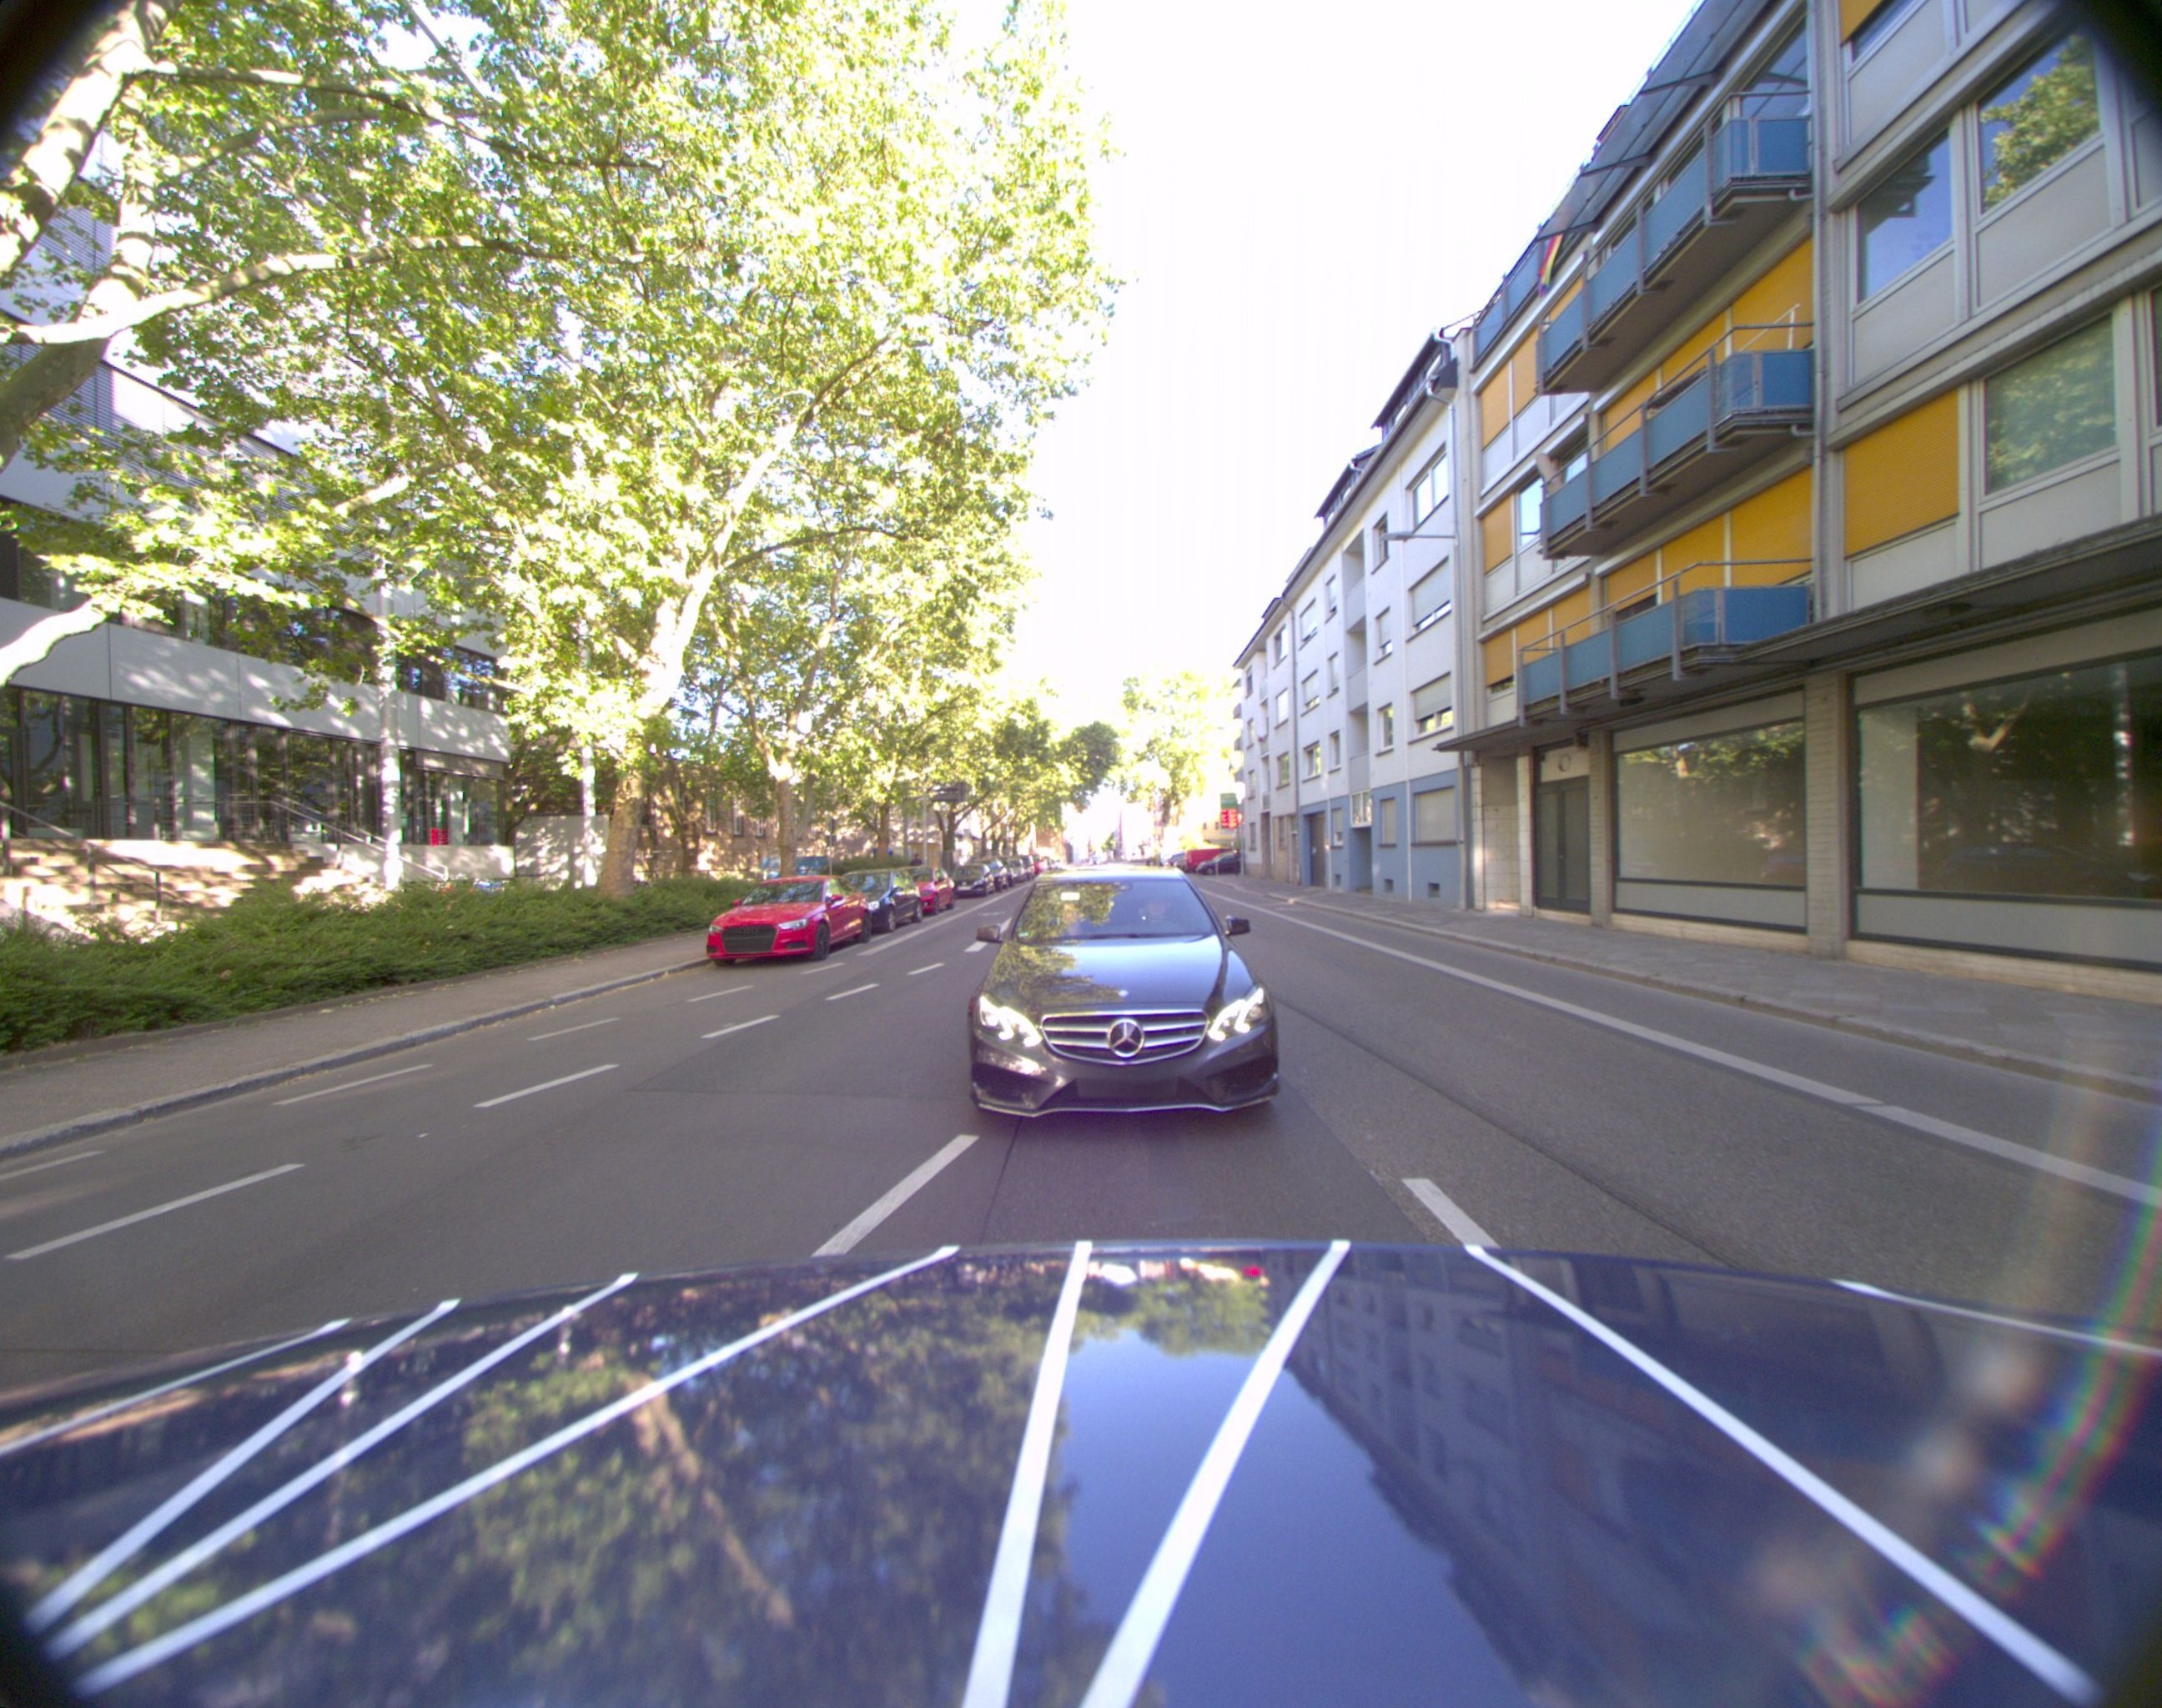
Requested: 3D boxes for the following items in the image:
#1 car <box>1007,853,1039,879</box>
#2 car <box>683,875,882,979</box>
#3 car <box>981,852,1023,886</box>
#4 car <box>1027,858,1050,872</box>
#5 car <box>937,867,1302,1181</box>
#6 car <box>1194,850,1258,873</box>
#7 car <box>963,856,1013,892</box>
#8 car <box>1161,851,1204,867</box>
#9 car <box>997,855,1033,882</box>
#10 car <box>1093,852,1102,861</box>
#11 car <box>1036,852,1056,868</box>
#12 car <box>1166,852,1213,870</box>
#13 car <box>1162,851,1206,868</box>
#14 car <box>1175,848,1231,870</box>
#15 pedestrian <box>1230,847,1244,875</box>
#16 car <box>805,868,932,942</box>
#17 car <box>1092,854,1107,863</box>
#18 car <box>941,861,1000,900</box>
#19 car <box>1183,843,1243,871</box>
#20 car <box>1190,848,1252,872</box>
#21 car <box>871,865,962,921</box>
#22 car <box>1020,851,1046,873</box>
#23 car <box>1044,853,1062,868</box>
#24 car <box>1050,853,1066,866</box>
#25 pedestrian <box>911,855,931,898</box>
[{"bbox_3d":[-4.182,0.810,55.640,1.835,1.750,4.259,-2,0,1],"label":"car"},{"bbox_3d":[-5.132,1.178,13.770,1.835,1.396,4.247,-2,0,1],"label":"car"},{"bbox_3d":[-4.512,0.820,44.115,1.835,1.787,4.463,-2,0,1],"label":"car"},{"bbox_3d":[-3.993,1.023,71.788,1.835,1.220,4.259,-2,0,1],"label":"car"},{"bbox_3d":[0.229,0.918,6.069,1.849,1.490,4.302,-1,0,1],"label":"car"},{"bbox_3d":[10.398,0.520,54.748,4.255,1.392,1.653,-4,0,1],"label":"car"},{"bbox_3d":[-4.599,0.963,38.075,1.835,1.596,4.161,-2,0,1],"label":"car"},{"bbox_3d":[10.772,0.514,80.615,4.255,1.461,1.653,-4,0,1],"label":"car"},{"bbox_3d":[-4.340,0.945,50.608,1.835,1.604,4.259,-2,0,1],"label":"car"},{"bbox_3d":[3.042,0.424,139.752,1.726,1.530,4.000,-1,0,1],"label":"car"},{"bbox_3d":[-3.941,0.663,86.227,1.835,1.667,4.259,-2,0,1],"label":"car"},{"bbox_3d":[10.430,0.673,73.193,4.255,1.461,1.653,-4,0,1],"label":"car"},{"bbox_3d":[10.601,0.540,78.651,4.255,1.461,1.653,-4,0,1],"label":"car"},{"bbox_3d":[10.050,0.409,62.712,4.255,1.461,1.653,-4,0,1],"label":"car"},{"bbox_3d":[9.310,0.411,45.293,0.611,1.685,0.656,-1,1,26],"label":"pedestrian"},{"bbox_3d":[-5.043,1.150,18.631,1.835,1.438,4.168,-2,0,1],"label":"car"},{"bbox_3d":[3.781,0.911,153.212,1.996,1.825,4.141,-1,0,14],"label":"car"},{"bbox_3d":[-4.748,1.103,33.177,1.835,1.459,4.168,-2,0,1],"label":"car"},{"bbox_3d":[10.413,0.223,60.130,4.255,1.907,1.818,-4,0,0],"label":"car"},{"bbox_3d":[10.482,0.456,57.050,4.255,1.461,1.653,-4,0,1],"label":"car"},{"bbox_3d":[-5.045,1.134,23.841,1.835,1.459,4.168,-2,0,1],"label":"car"},{"bbox_3d":[-4.148,0.679,66.347,1.835,1.839,4.259,-2,0,1],"label":"car"},{"bbox_3d":[-3.414,0.781,92.843,1.835,1.667,4.259,-2,0,1],"label":"car"},{"bbox_3d":[-3.049,0.679,102.949,1.835,1.667,4.259,-2,0,1],"label":"car"},{"bbox_3d":[-6.948,0.978,32.944,0.660,1.849,0.641,-1,1,1],"label":"pedestrian"}]
